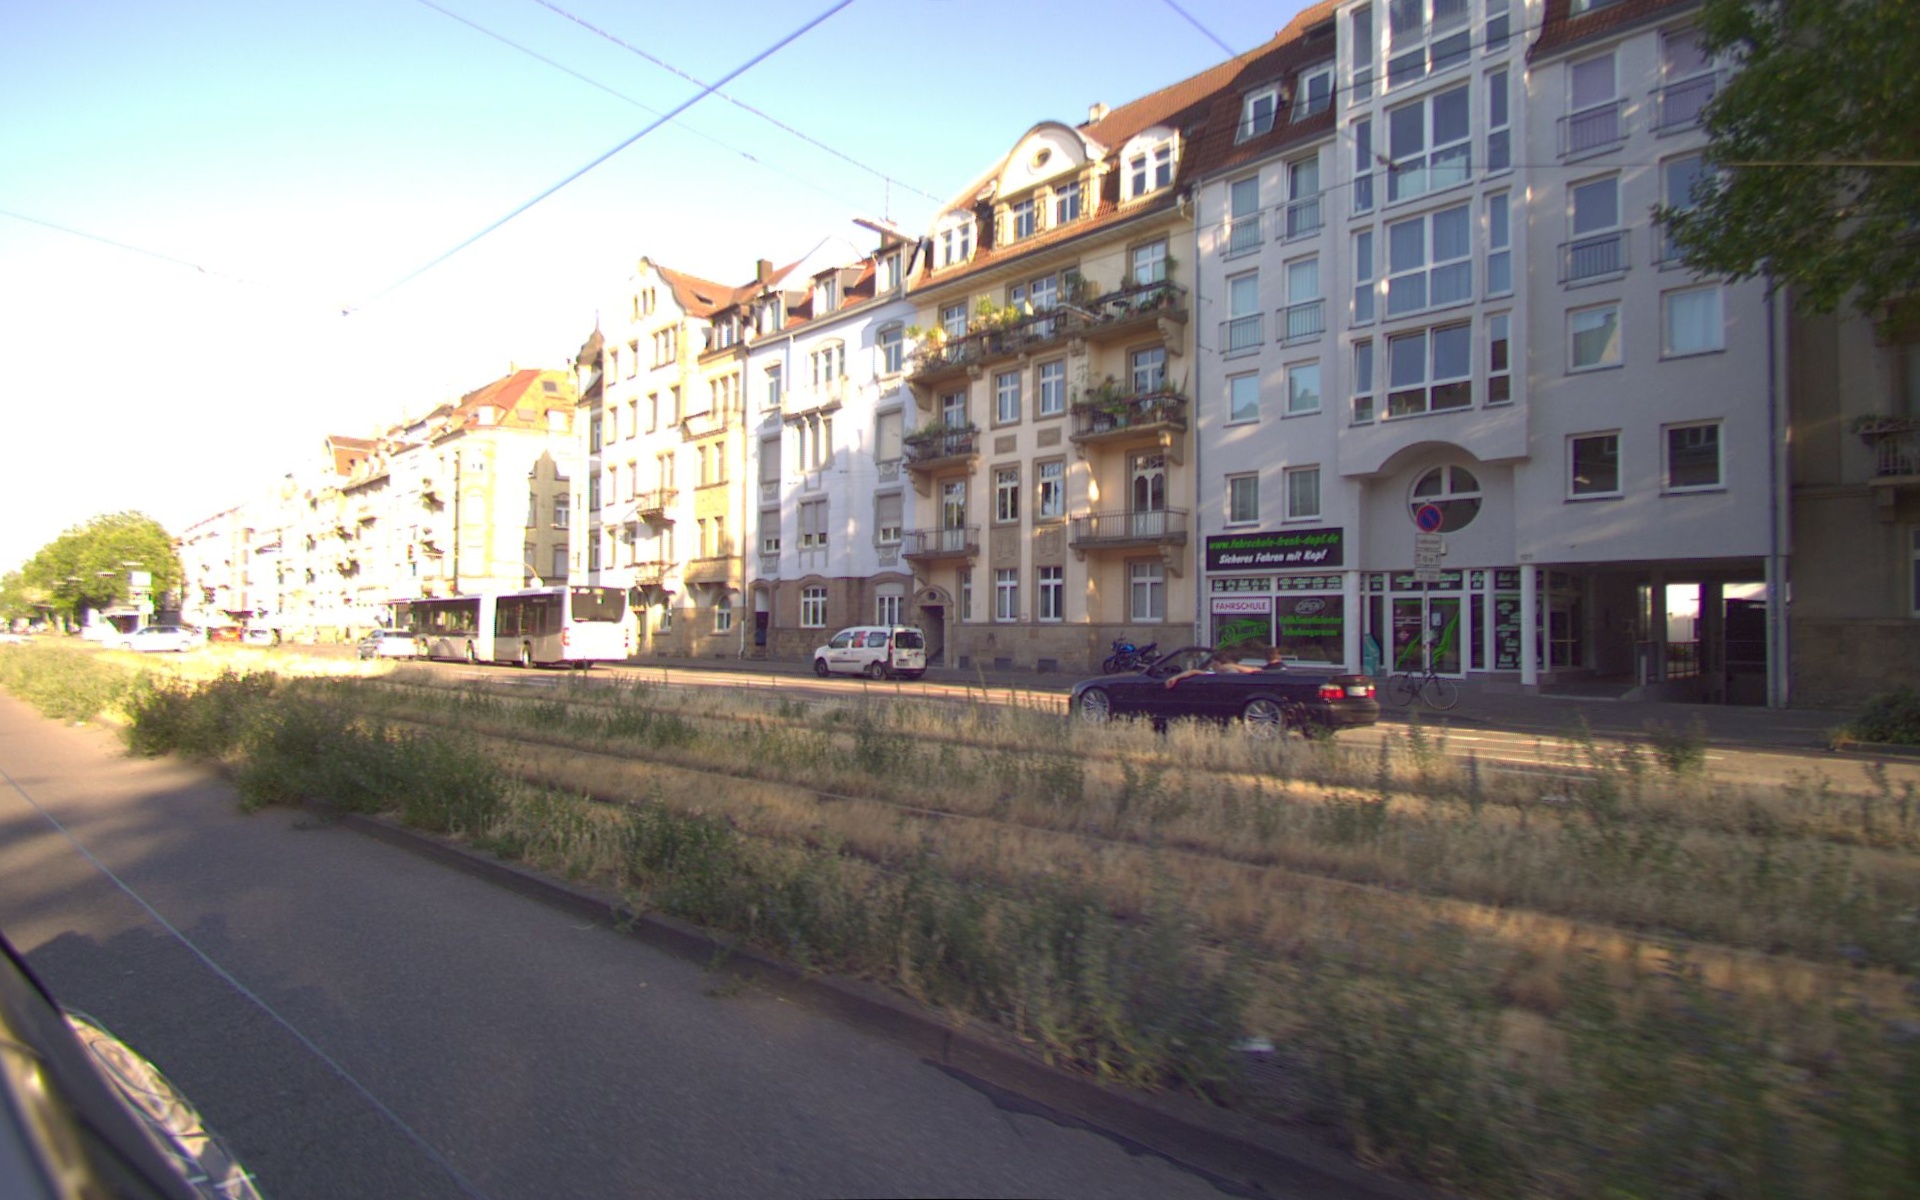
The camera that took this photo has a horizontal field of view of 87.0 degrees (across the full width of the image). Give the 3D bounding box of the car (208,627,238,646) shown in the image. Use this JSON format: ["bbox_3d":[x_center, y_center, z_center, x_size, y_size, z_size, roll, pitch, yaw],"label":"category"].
[{"bbox_3d":[-76.740,3.770,105.342,1.892,1.914,4.313,2,-2,-44],"label":"car"}]

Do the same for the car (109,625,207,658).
[{"bbox_3d":[-43.758,2.257,55.268,1.836,1.719,3.942,0,-2,43],"label":"car"}]

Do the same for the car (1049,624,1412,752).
[{"bbox_3d":[3.610,1.136,14.179,4.701,1.497,1.696,-2,-5,45],"label":"car"}]

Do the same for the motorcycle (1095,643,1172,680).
[{"bbox_3d":[5.258,1.861,30.872,2.421,1.029,0.522,-2,0,44],"label":"motorcycle"}]

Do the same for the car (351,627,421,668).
[{"bbox_3d":[-25.592,2.064,45.072,1.906,1.697,4.005,2,-2,-42],"label":"car"}]

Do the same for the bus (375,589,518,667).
[{"bbox_3d":[-24.902,1.269,48.742,3.228,3.400,9.904,2,-2,-45],"label":"bus"}]

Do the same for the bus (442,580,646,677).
[{"bbox_3d":[-17.141,1.076,40.980,11.983,3.400,3.217,0,-2,45],"label":"bus"}]

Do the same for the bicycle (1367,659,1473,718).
[{"bbox_3d":[9.736,1.858,21.493,0.747,1.040,1.900,-5,2,-31],"label":"bicycle"}]

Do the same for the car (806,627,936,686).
[{"bbox_3d":[-3.063,1.829,34.054,1.882,1.800,4.657,2,-2,-43],"label":"car"}]

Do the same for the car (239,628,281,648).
[{"bbox_3d":[-52.670,2.867,76.171,1.707,1.491,3.827,1,-2,-21],"label":"car"}]

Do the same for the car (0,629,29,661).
[{"bbox_3d":[-47.098,2.133,48.119,3.991,1.537,1.785,2,-2,-39],"label":"car"}]
